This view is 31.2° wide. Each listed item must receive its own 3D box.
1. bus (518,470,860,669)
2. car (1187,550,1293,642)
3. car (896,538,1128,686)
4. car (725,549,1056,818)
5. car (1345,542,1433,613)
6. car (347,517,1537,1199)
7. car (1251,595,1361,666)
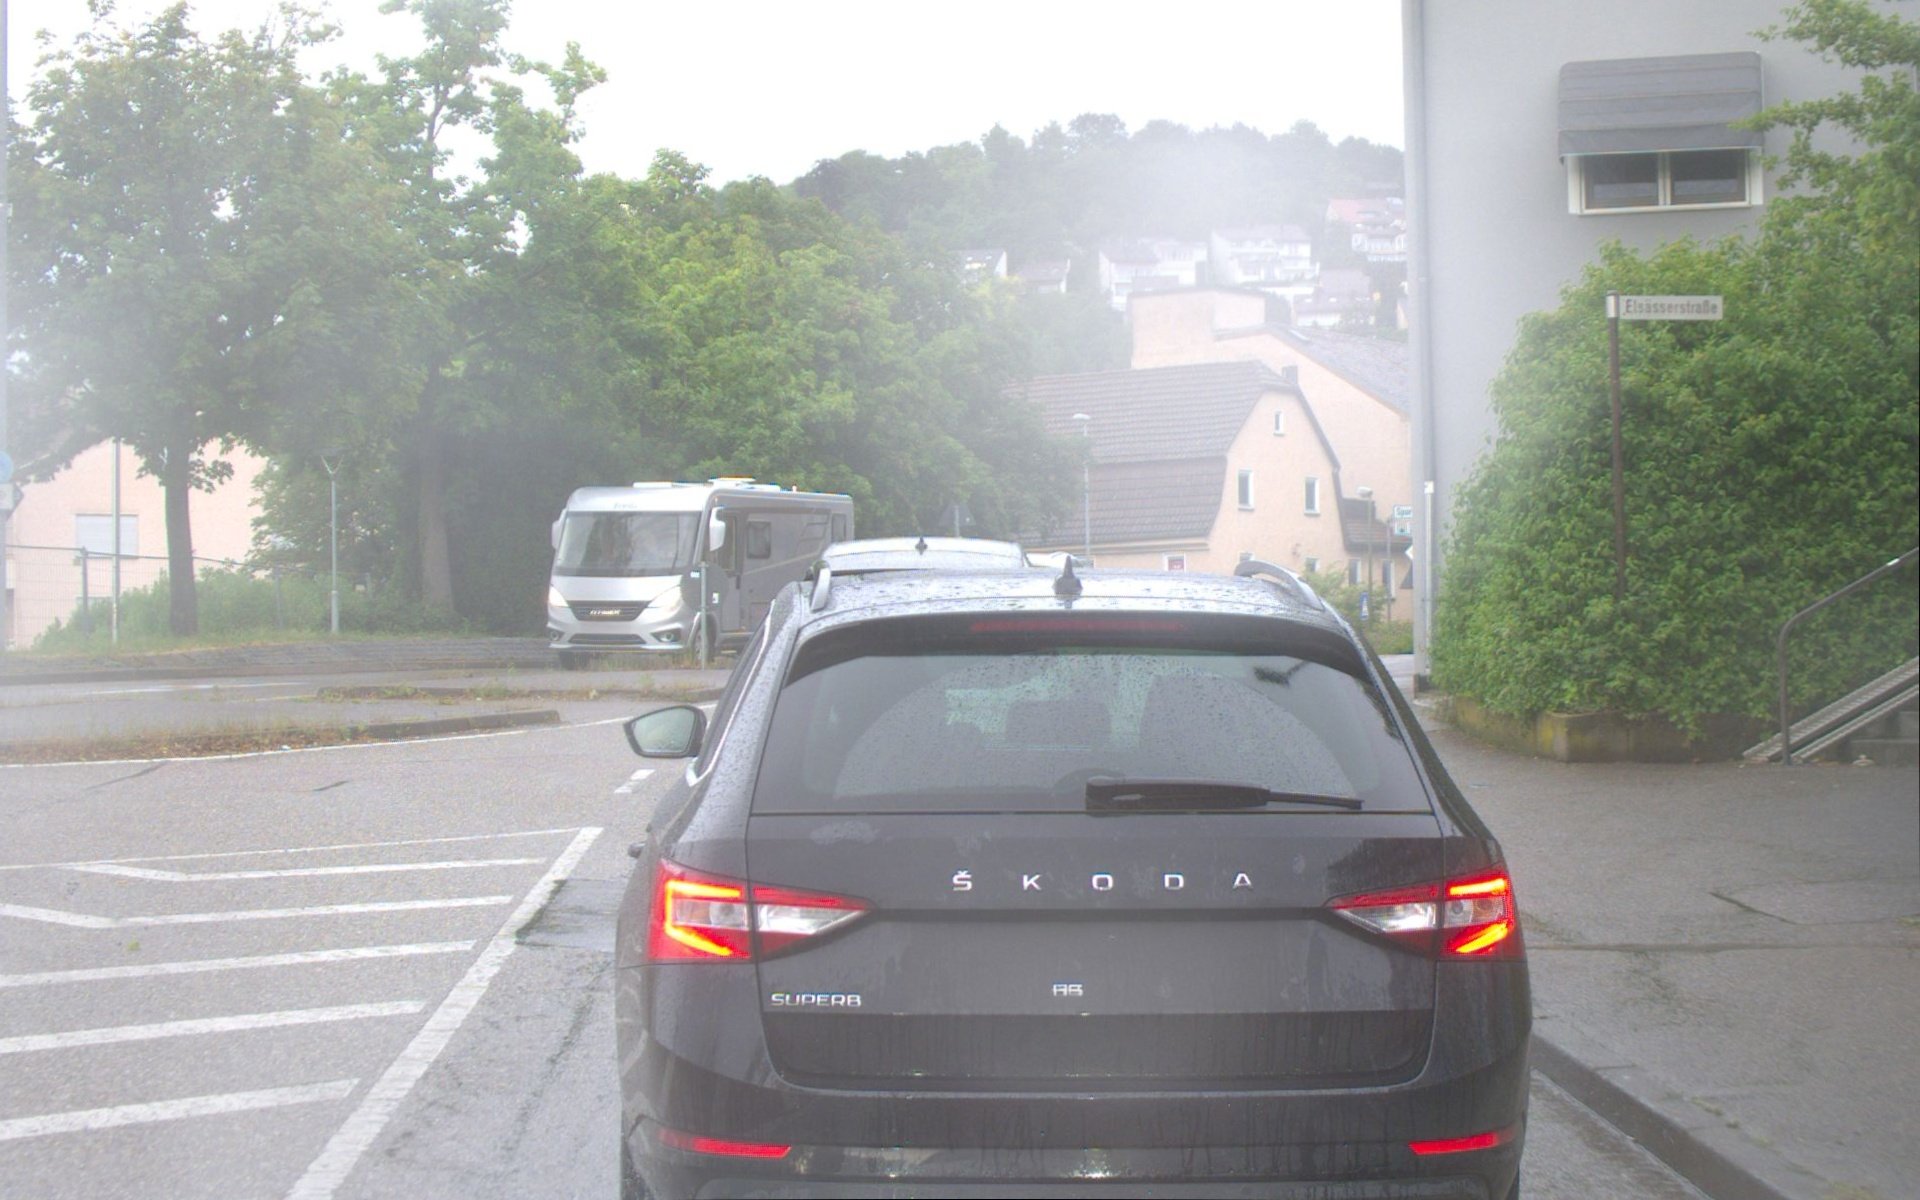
[{"bbox_3d":[-3.769,-0.478,49.735,2.399,2.667,7.041,0,1,18],"label":"bus"},{"bbox_3d":[4.915,-0.096,59.979,1.568,1.525,3.999,0,1,9],"label":"car"},{"bbox_3d":[0.595,0.119,34.969,1.848,1.405,4.300,0,0,8],"label":"car"},{"bbox_3d":[-0.329,0.466,21.249,1.829,1.495,4.168,0,0,2],"label":"car"},{"bbox_3d":[12.513,-0.642,100.510,1.993,2.007,4.000,1,0,-1],"label":"car"},{"bbox_3d":[-0.103,0.644,8.053,1.954,1.502,4.609,2,0,-2],"label":"car"},{"bbox_3d":[7.716,0.661,76.398,1.994,1.448,3.769,-3,0,12],"label":"car"}]
